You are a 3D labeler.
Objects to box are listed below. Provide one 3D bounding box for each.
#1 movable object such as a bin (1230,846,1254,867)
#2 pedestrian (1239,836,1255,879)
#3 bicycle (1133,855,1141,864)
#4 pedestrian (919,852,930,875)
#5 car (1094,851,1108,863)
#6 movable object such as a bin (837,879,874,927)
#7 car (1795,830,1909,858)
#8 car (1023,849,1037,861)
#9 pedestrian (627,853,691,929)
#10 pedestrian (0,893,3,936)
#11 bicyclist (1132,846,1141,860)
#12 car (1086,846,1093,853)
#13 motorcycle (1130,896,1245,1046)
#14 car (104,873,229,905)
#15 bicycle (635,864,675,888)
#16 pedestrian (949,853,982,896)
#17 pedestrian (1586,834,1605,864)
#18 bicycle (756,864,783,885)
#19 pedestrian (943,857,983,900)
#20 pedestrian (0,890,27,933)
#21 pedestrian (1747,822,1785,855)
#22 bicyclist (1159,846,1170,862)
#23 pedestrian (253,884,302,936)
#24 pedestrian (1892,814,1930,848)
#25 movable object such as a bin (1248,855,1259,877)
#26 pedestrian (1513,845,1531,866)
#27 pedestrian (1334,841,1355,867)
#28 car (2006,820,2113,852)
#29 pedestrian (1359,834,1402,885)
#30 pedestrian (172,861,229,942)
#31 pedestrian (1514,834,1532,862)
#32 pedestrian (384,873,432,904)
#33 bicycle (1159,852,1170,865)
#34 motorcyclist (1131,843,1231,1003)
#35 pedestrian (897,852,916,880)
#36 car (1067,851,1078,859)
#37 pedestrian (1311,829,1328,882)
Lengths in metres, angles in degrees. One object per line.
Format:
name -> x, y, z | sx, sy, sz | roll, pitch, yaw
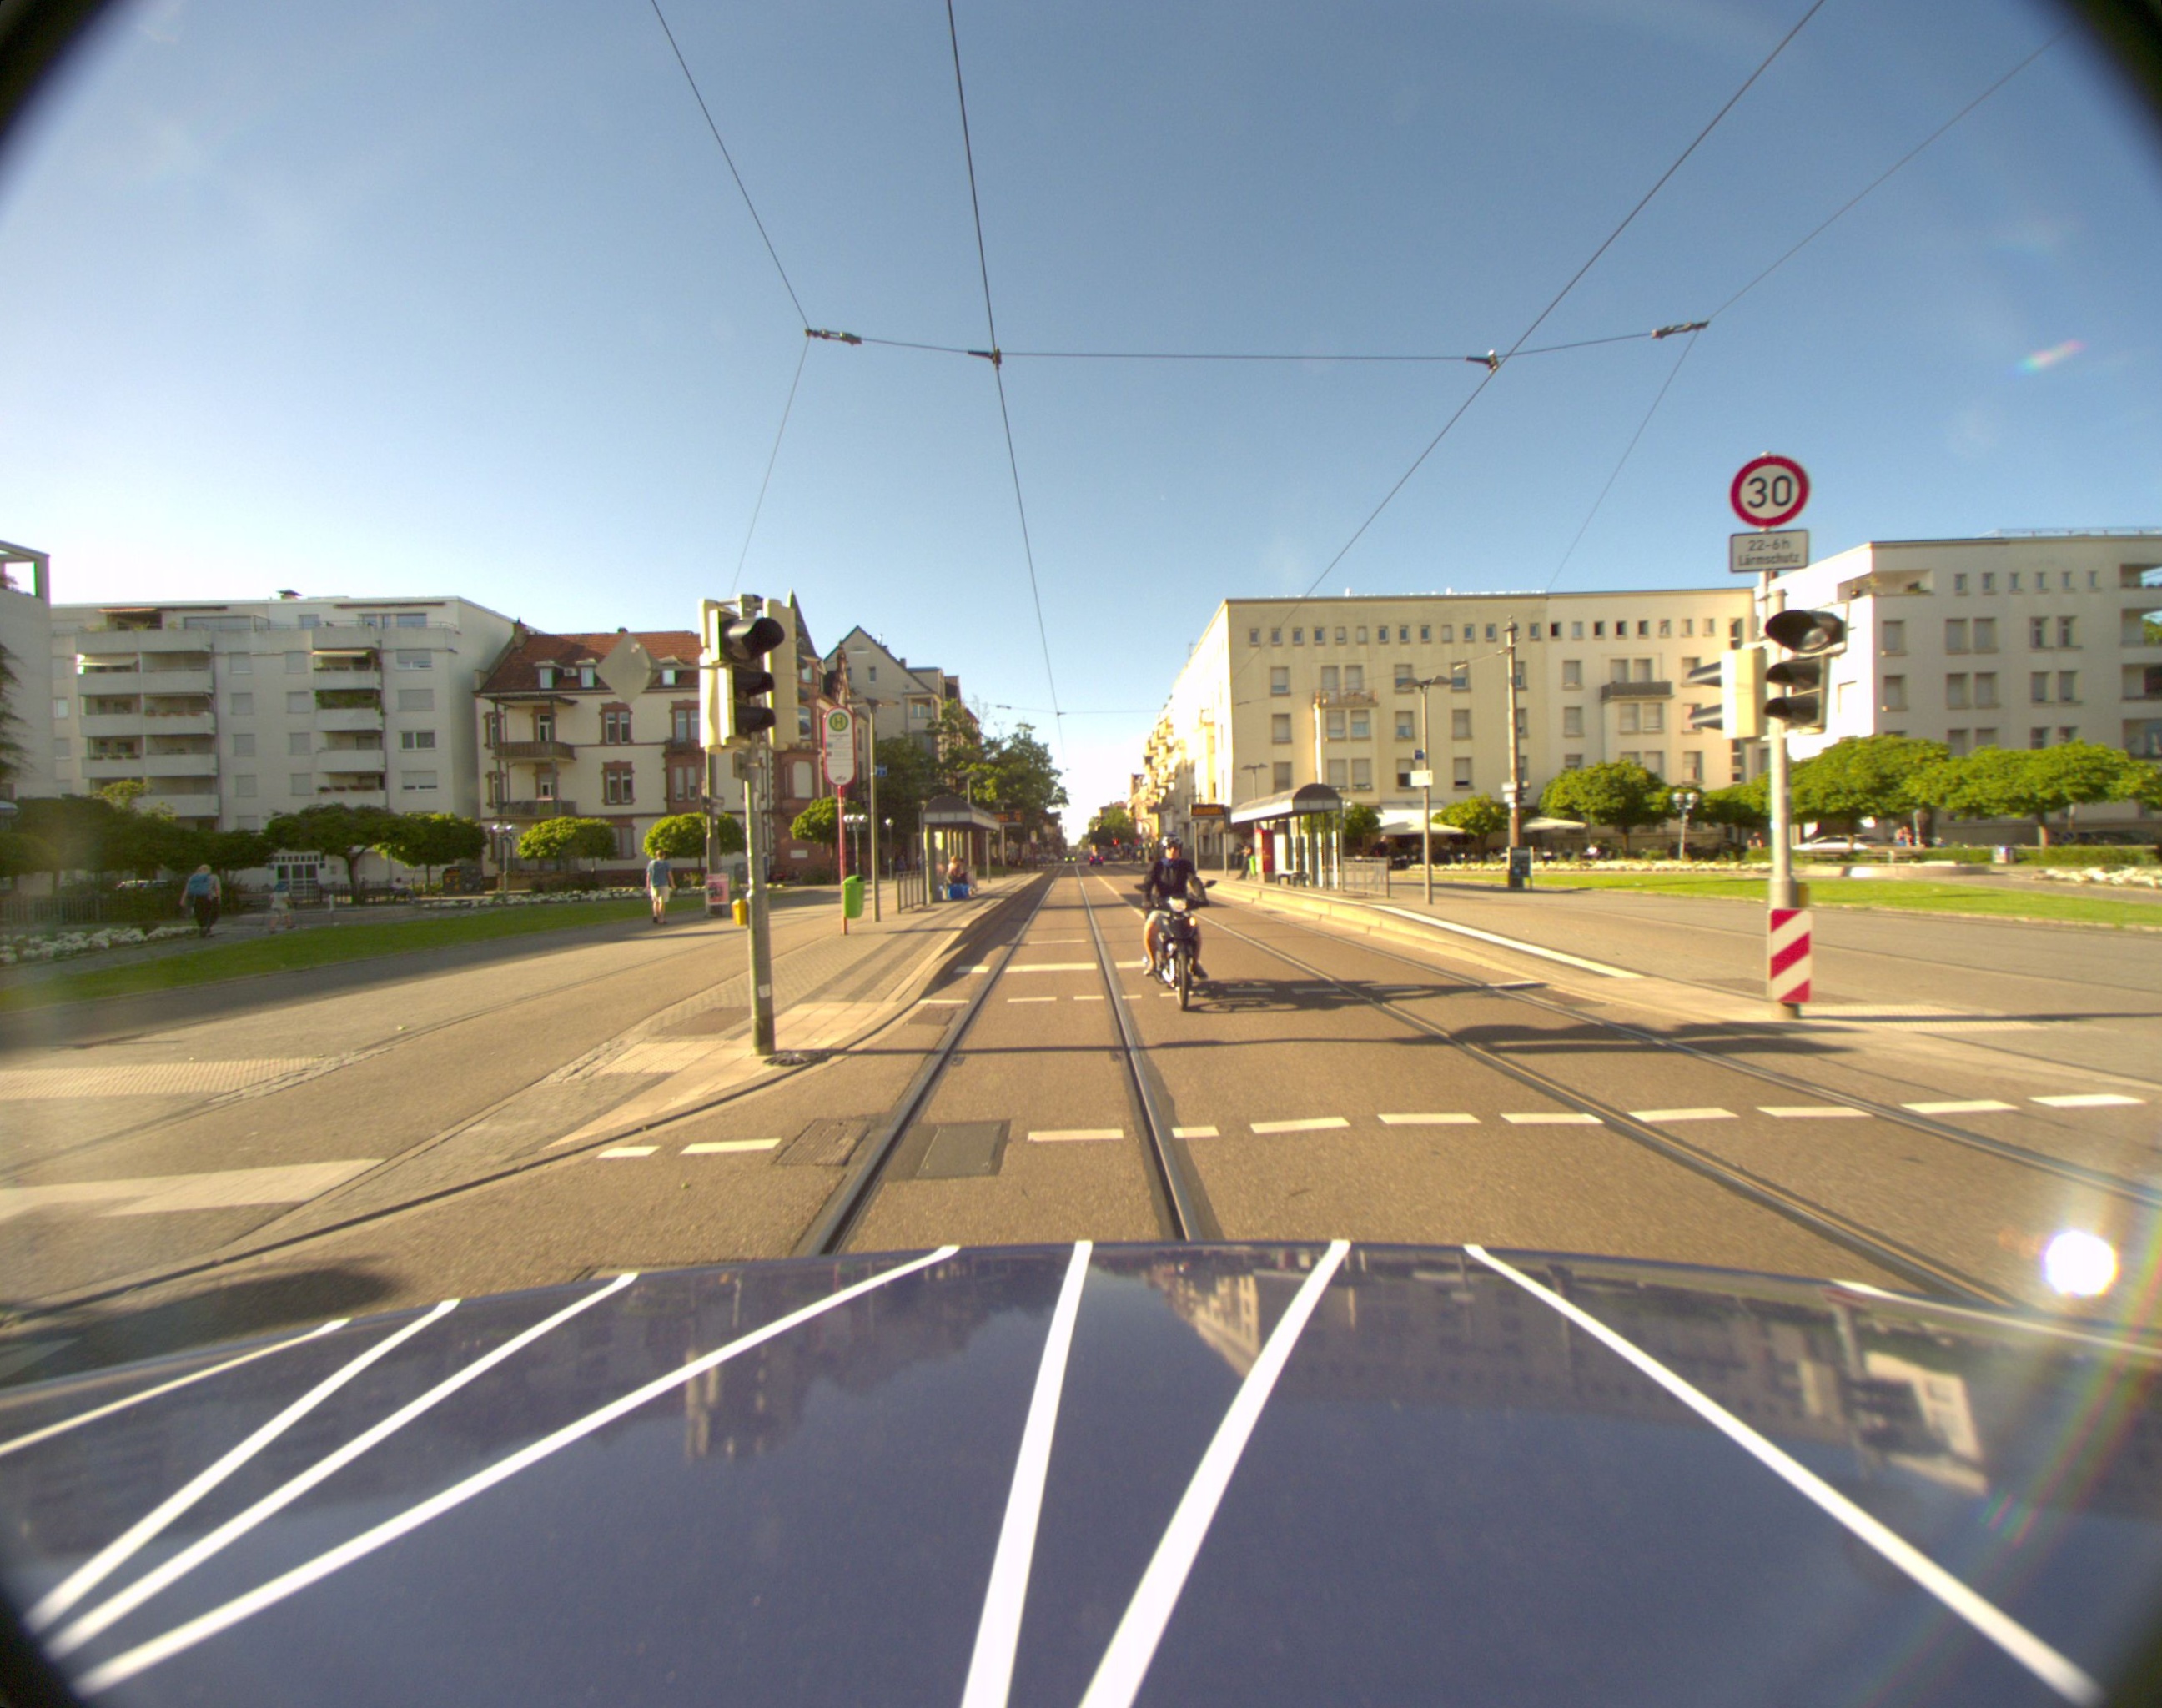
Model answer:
movable object such as a bin -> 10.852, 0.150, 51.316 | 1.319, 1.392, 1.128 | -2, 1, -1
pedestrian -> 6.721, 0.137, 30.761 | 0.550, 1.708, 0.607 | 0, 1, 2
bicycle -> 7.089, 0.747, 96.893 | 0.714, 1.119, 2.035 | -2, 1, -3
pedestrian -> -11.989, 0.751, 58.254 | 0.742, 1.725, 0.877 | -2, 1, -7
car -> 2.558, 0.332, 97.620 | 1.671, 1.479, 3.999 | -3, 0, 0
movable object such as a bin -> -3.904, 0.835, 13.161 | 0.450, 0.781, 0.489 | -2, 1, 3
car -> 38.784, -0.504, 38.369 | 1.999, 1.293, 3.715 | -2, 0, 0
car -> -9.124, 0.211, 136.371 | 1.998, 2.002, 4.000 | -2, 0, 3
pedestrian -> -10.807, 0.923, 19.487 | 0.984, 1.866, 1.129 | -2, 0, -2
pedestrian -> -32.379, 1.814, 22.169 | 0.745, 1.264, 0.731 | -2, 1, -21
bicyclist -> 7.110, -0.142, 96.849 | 1.006, 1.783, 1.095 | -2, 1, -3
car -> 2.666, -1.381, 235.136 | 1.877, 2.105, 4.000 | -2, 1, 1
motorcycle -> 0.970, 1.046, 7.575 | 0.799, 1.090, 2.428 | -2, 1, 0
car -> -51.439, 1.942, 42.850 | 1.997, 1.508, 4.002 | -2, 0, 7
bicycle -> -26.086, 1.342, 46.595 | 0.746, 1.364, 2.914 | -2, 0, 0
pedestrian -> -3.785, 0.674, 24.891 | 0.861, 1.327, 0.623 | -5, 1, 0
pedestrian -> 30.097, -0.275, 44.451 | 0.675, 1.726, 0.718 | 1, -3, -40
bicycle -> -18.520, 1.223, 45.244 | 0.790, 1.062, 2.804 | -2, 2, -9
pedestrian -> -3.634, 0.754, 23.488 | 1.001, 1.218, 0.923 | -5, 1, 0
pedestrian -> -32.611, 1.744, 22.862 | 0.745, 1.264, 0.731 | -2, 1, -21
pedestrian -> 37.928, -0.859, 42.102 | 1.177, 1.777, 1.080 | -2, 1, -14
bicyclist -> 7.464, -0.005, 67.941 | 0.829, 1.447, 0.877 | -3, 1, 0
pedestrian -> -18.888, 1.315, 17.874 | 0.470, 1.162, 0.558 | -3, 2, 9
pedestrian -> 50.894, -1.400, 46.607 | 1.093, 2.002, 1.091 | -2, 1, -1
movable object such as a bin -> 6.770, 0.464, 29.875 | 0.337, 0.855, 0.416 | -2, 1, 3
pedestrian -> 26.688, 0.084, 45.960 | 0.644, 1.262, 0.674 | 0, -2, -5
pedestrian -> 16.923, -0.019, 48.783 | 1.066, 1.634, 0.757 | 0, -2, -5
car -> 47.565, -0.855, 37.014 | 1.417, 1.477, 2.933 | -2, 0, 0
pedestrian -> 10.211, 0.185, 25.956 | 0.996, 1.670, 0.973 | -2, 1, -7
pedestrian -> -19.512, 1.046, 16.851 | 0.559, 1.735, 0.527 | -2, 2, 11
pedestrian -> 28.284, -0.364, 48.625 | 0.675, 1.726, 0.683 | 1, -2, -27
pedestrian -> -32.445, 1.654, 36.649 | 1.525, 1.403, 0.936 | -2, 1, 10
bicycle -> 7.476, 0.416, 67.914 | 0.730, 1.107, 1.976 | -2, 1, 1
motorcyclist -> 0.970, 0.640, 7.611 | 0.821, 1.466, 1.113 | -2, 1, 0
pedestrian -> -10.700, 0.744, 46.664 | 1.070, 1.659, 0.956 | -2, 1, -13
car -> -1.475, 0.188, 137.750 | 1.999, 1.318, 3.863 | -2, 0, 0
pedestrian -> 8.411, 0.067, 26.818 | 0.429, 1.848, 0.526 | 1, 1, 3
